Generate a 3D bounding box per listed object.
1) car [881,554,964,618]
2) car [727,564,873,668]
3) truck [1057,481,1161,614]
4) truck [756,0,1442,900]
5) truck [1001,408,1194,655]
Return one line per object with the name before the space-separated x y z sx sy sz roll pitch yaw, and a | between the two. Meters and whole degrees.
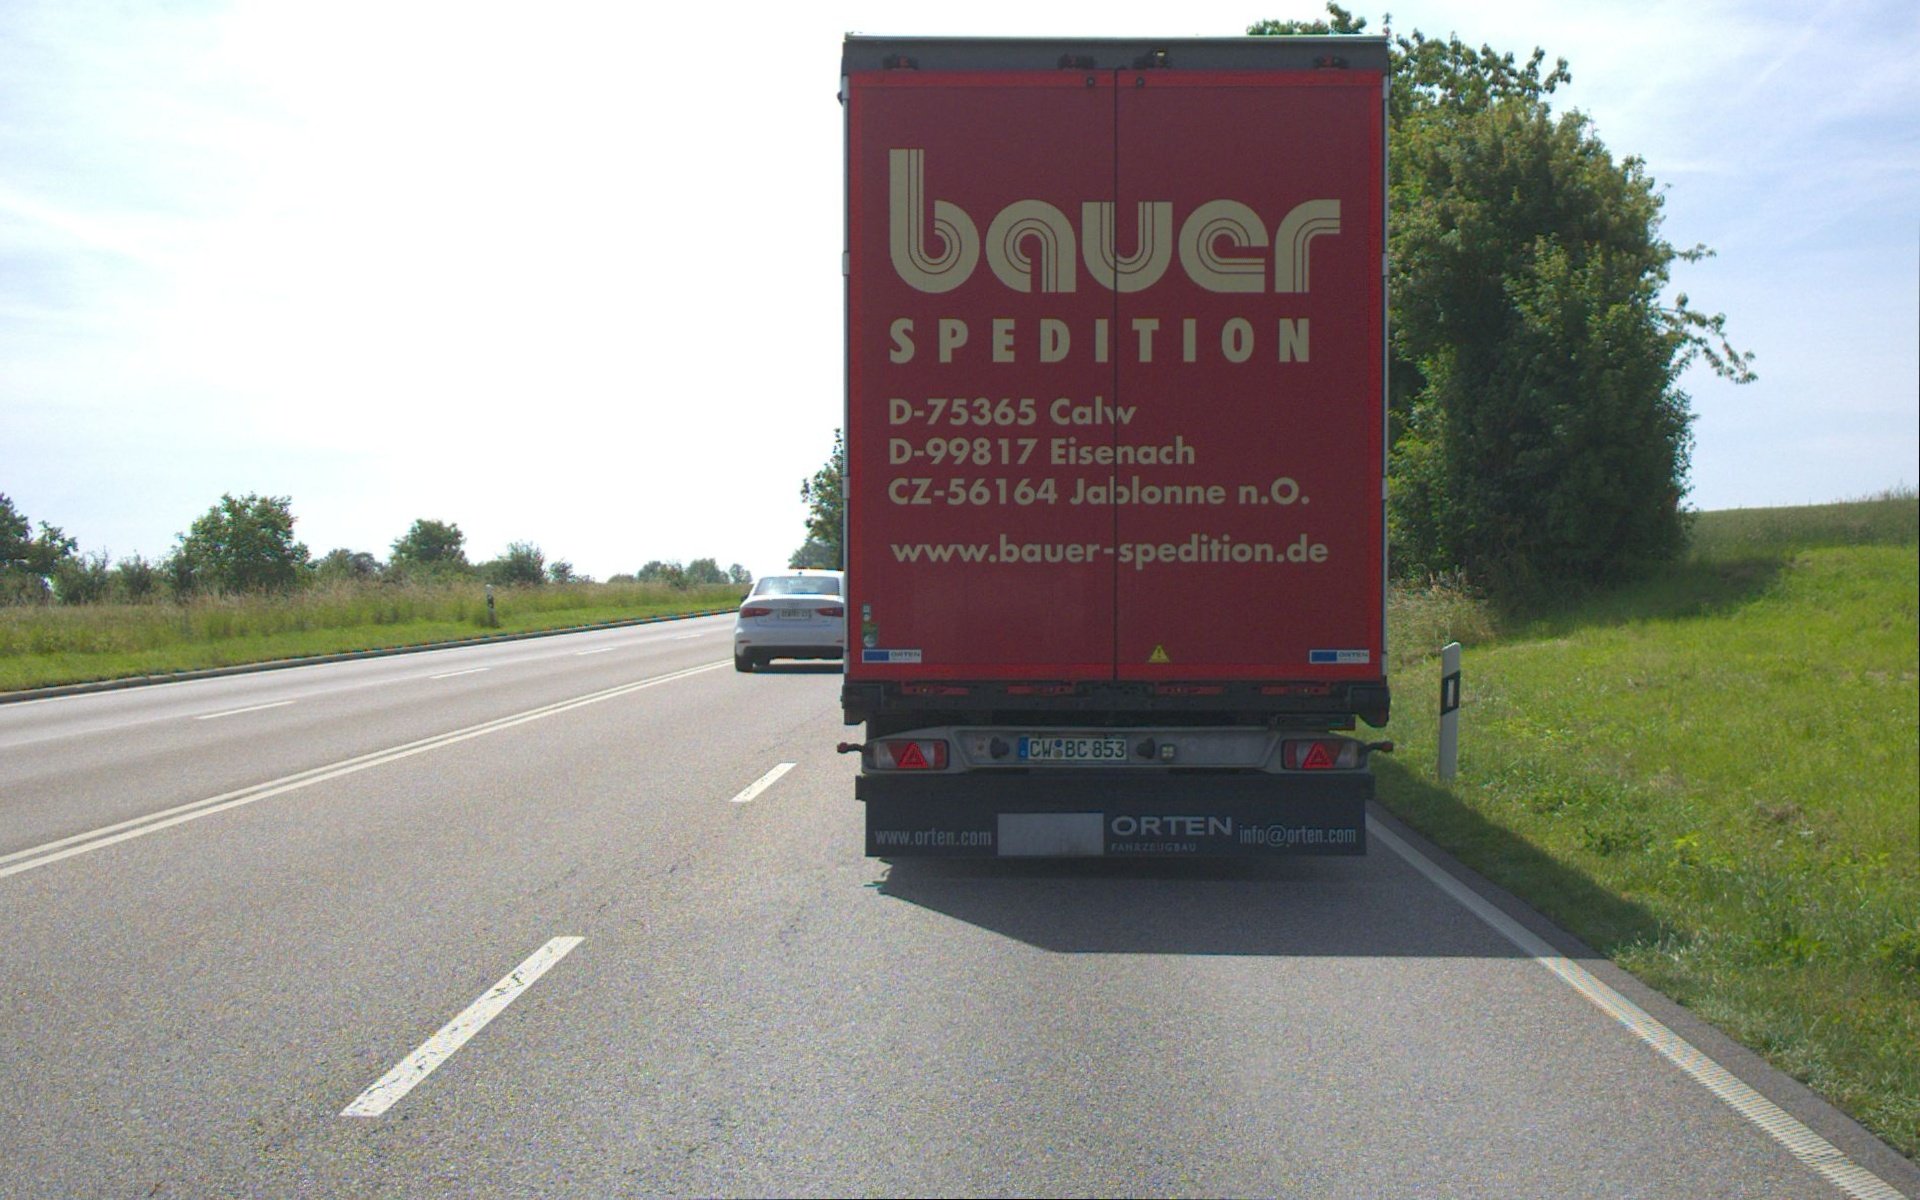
car | -0.880 -0.358 83.342 1.821 1.467 4.788 1 1 1
car | -2.211 0.185 48.634 1.703 1.371 4.603 1 1 2
truck | 4.896 -1.659 110.207 3.047 3.897 18.396 0 1 3
truck | 0.526 -0.846 23.902 3.007 4.166 16.715 1 1 -1
truck | 2.561 -1.178 62.291 3.047 3.897 15.614 0 1 3
